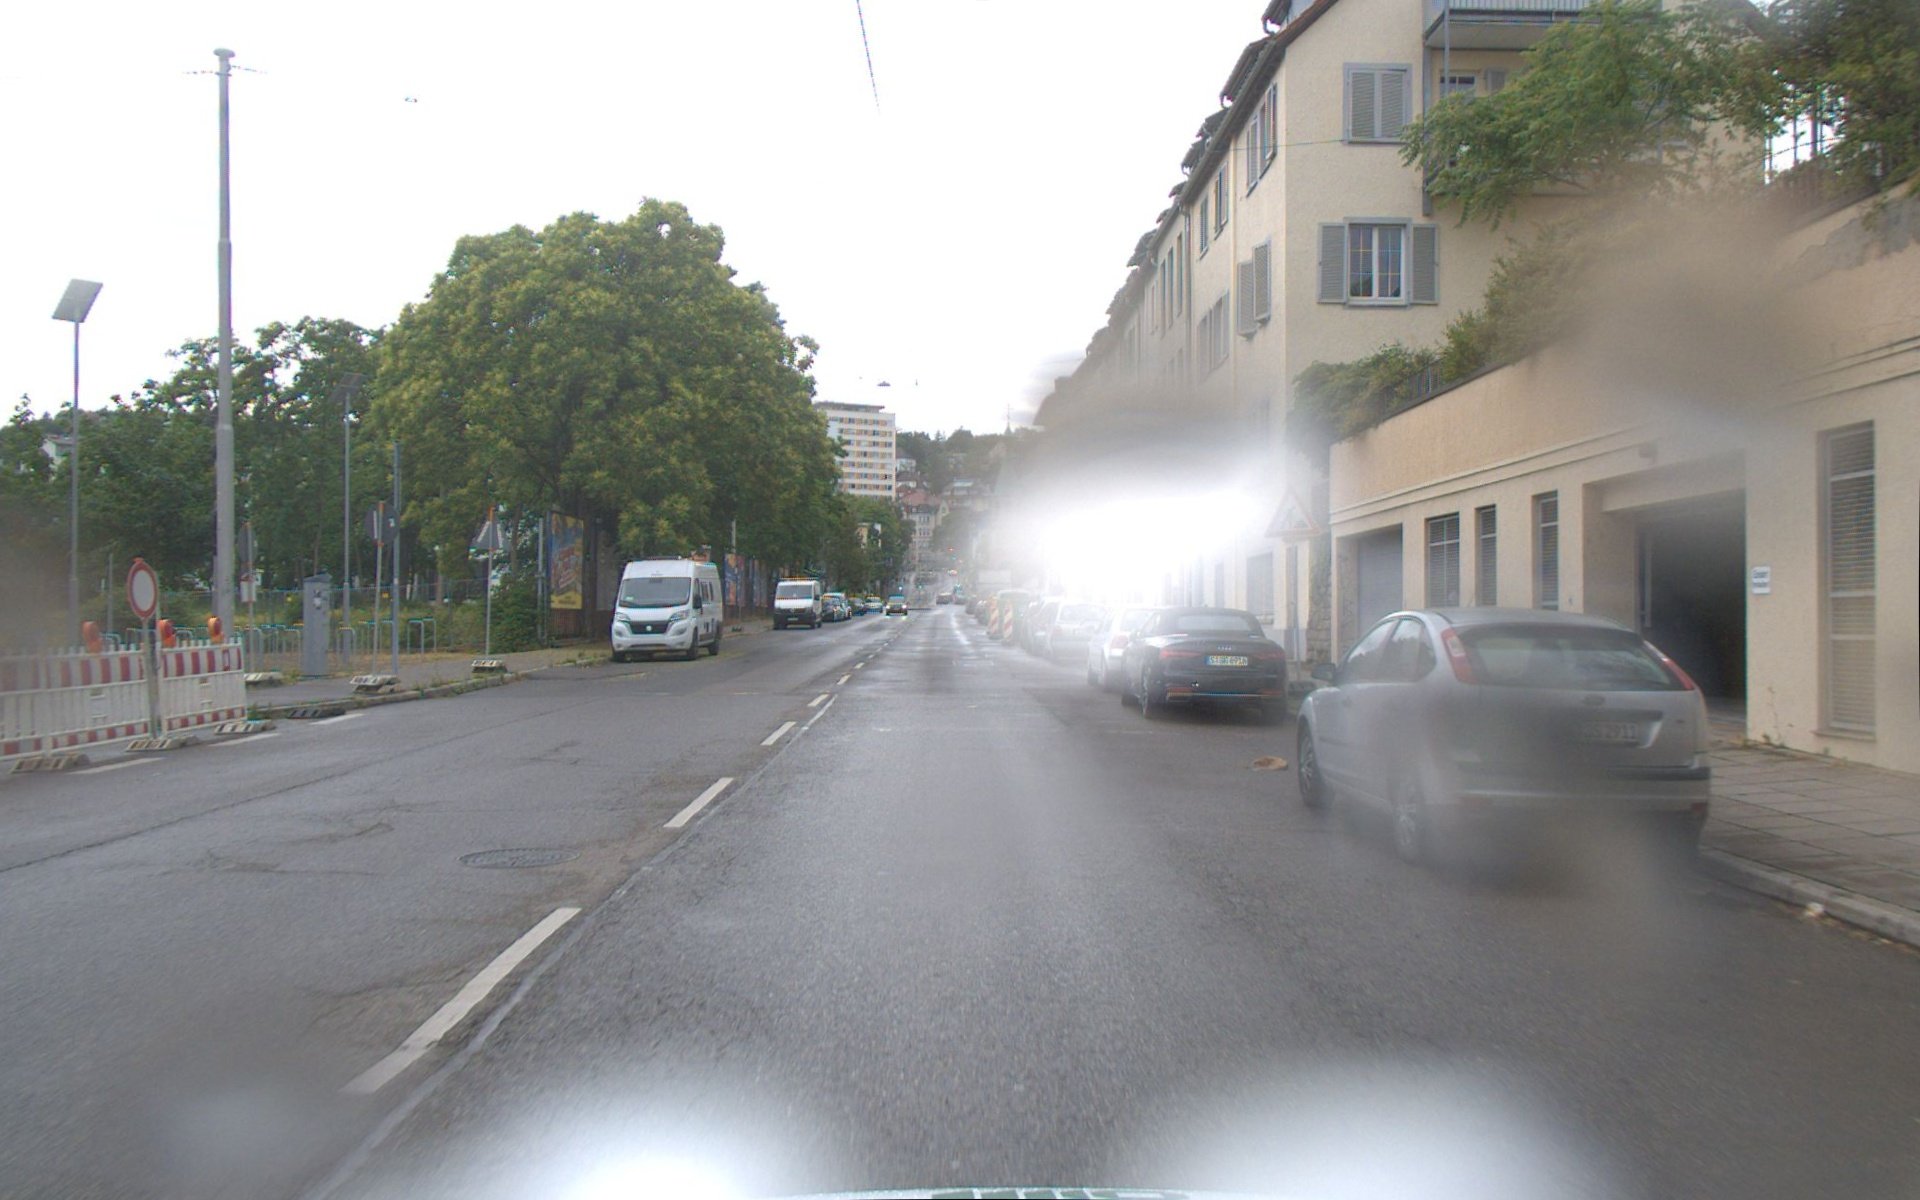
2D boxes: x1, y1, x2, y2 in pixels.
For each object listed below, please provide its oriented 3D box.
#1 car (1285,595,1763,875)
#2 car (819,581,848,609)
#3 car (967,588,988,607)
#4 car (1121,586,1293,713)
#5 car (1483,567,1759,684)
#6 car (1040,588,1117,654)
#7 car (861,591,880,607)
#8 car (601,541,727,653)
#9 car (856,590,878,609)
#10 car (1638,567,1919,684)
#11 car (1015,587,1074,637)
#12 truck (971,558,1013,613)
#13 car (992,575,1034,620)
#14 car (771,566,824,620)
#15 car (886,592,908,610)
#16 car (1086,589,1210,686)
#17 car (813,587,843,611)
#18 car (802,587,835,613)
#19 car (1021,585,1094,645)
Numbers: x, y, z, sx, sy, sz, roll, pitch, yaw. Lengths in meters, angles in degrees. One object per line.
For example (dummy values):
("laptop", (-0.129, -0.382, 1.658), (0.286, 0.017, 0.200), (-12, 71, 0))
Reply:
("car", (3.481, 0.736, 11.094), (1.654, 1.479, 4.234), (1, 0, -1))
("car", (-8.370, -0.330, 109.868), (1.689, 1.831, 4.343), (-1, 0, -1))
("car", (1.537, -0.241, 147.565), (1.781, 1.681, 4.075), (1, 0, -1))
("car", (3.147, 0.583, 21.731), (1.596, 1.479, 3.758), (1, 0, -1))
("car", (8.787, 0.308, 22.408), (1.849, 1.425, 4.200), (0, 0, -4))
("car", (2.899, 0.484, 40.933), (1.527, 1.479, 3.758), (1, 1, -1))
("car", (-8.273, -0.098, 152.881), (1.675, 1.476, 4.293), (-1, 0, -2))
("car", (-7.528, -0.112, 42.774), (2.185, 2.624, 6.536), (-2, 1, -2))
("car", (-7.722, -0.042, 137.892), (1.767, 1.476, 4.655), (-1, 0, -3))
("car", (11.057, 0.306, 22.356), (1.849, 1.425, 4.200), (0, 0, -4))
("car", (2.617, 0.360, 51.852), (1.593, 1.435, 3.842), (1, 1, 0))
("truck", (1.940, -0.882, 101.701), (2.419, 3.228, 7.035), (0, 0, 0))
("car", (2.389, -0.121, 75.675), (1.780, 1.957, 4.239), (-1, 0, 0))
("car", (-7.939, -0.370, 81.513), (1.970, 2.530, 5.983), (-1, 1, 0))
("car", (-5.266, 0.088, 137.039), (1.769, 1.440, 4.381), (0, 0, -3))
("car", (3.148, 0.581, 28.306), (1.596, 1.479, 3.758), (1, 1, -1))
("car", (-8.272, -0.055, 103.723), (1.648, 1.488, 4.275), (-1, 0, -2))
("car", (-8.240, 0.009, 96.570), (1.648, 1.423, 3.909), (-1, 0, -2))
("car", (2.679, 0.389, 46.288), (1.681, 1.551, 3.999), (1, 1, -1))
